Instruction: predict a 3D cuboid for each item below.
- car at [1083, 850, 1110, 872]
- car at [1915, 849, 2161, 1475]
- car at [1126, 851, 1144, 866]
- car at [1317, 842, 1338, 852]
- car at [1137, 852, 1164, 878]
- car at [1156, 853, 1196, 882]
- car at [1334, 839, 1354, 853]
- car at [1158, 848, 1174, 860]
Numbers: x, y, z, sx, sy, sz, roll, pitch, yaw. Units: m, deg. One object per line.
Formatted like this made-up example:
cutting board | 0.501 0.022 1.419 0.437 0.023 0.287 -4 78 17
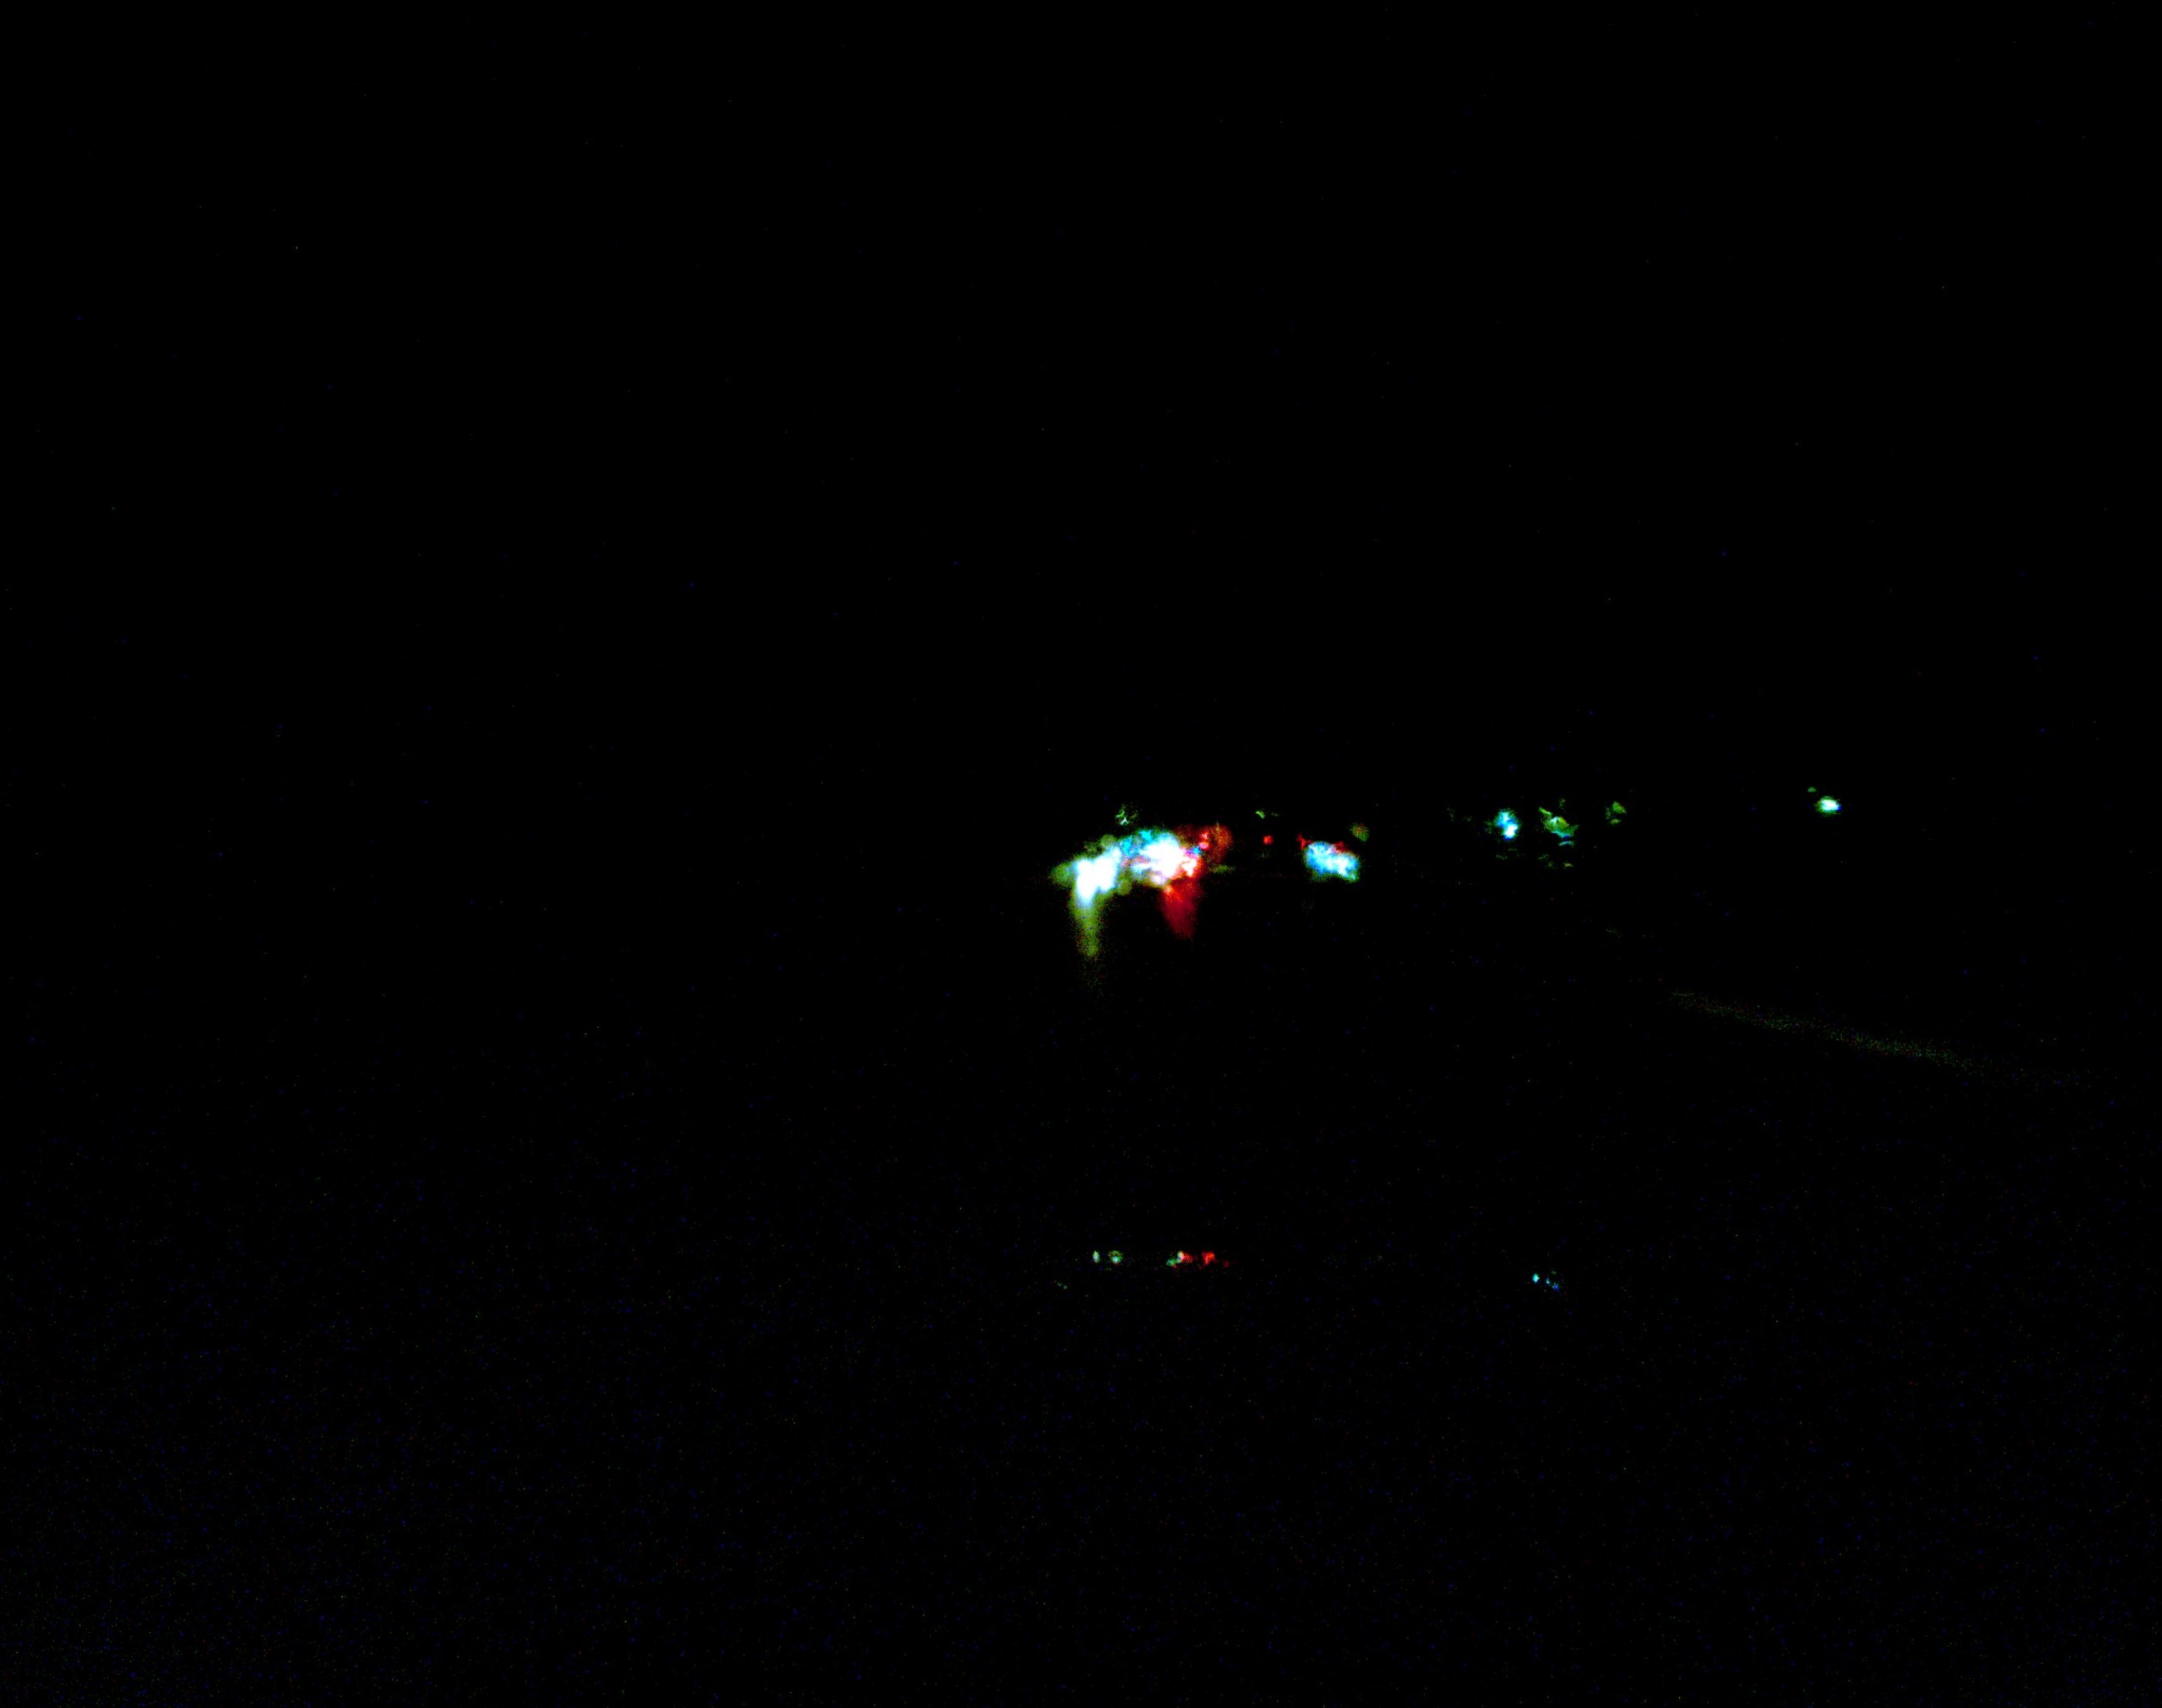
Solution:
car | 1.291 0.516 60.589 1.877 1.579 4.889 -3 1 4
car | 3.515 0.785 0.720 1.487 1.606 3.560 -4 0 1
car | 6.158 0.478 87.550 1.927 1.606 4.086 -2 0 3
car | 46.732 -1.278 143.956 1.852 1.683 4.444 -2 0 -12
car | 4.850 0.767 53.458 1.658 1.673 4.521 -2 0 2
car | 5.226 0.710 42.109 1.697 1.511 3.862 -2 0 0
car | 47.044 -1.437 136.240 1.998 2.294 6.024 -2 0 6
car | 10.364 0.003 92.864 1.807 1.375 4.774 -2 0 7
